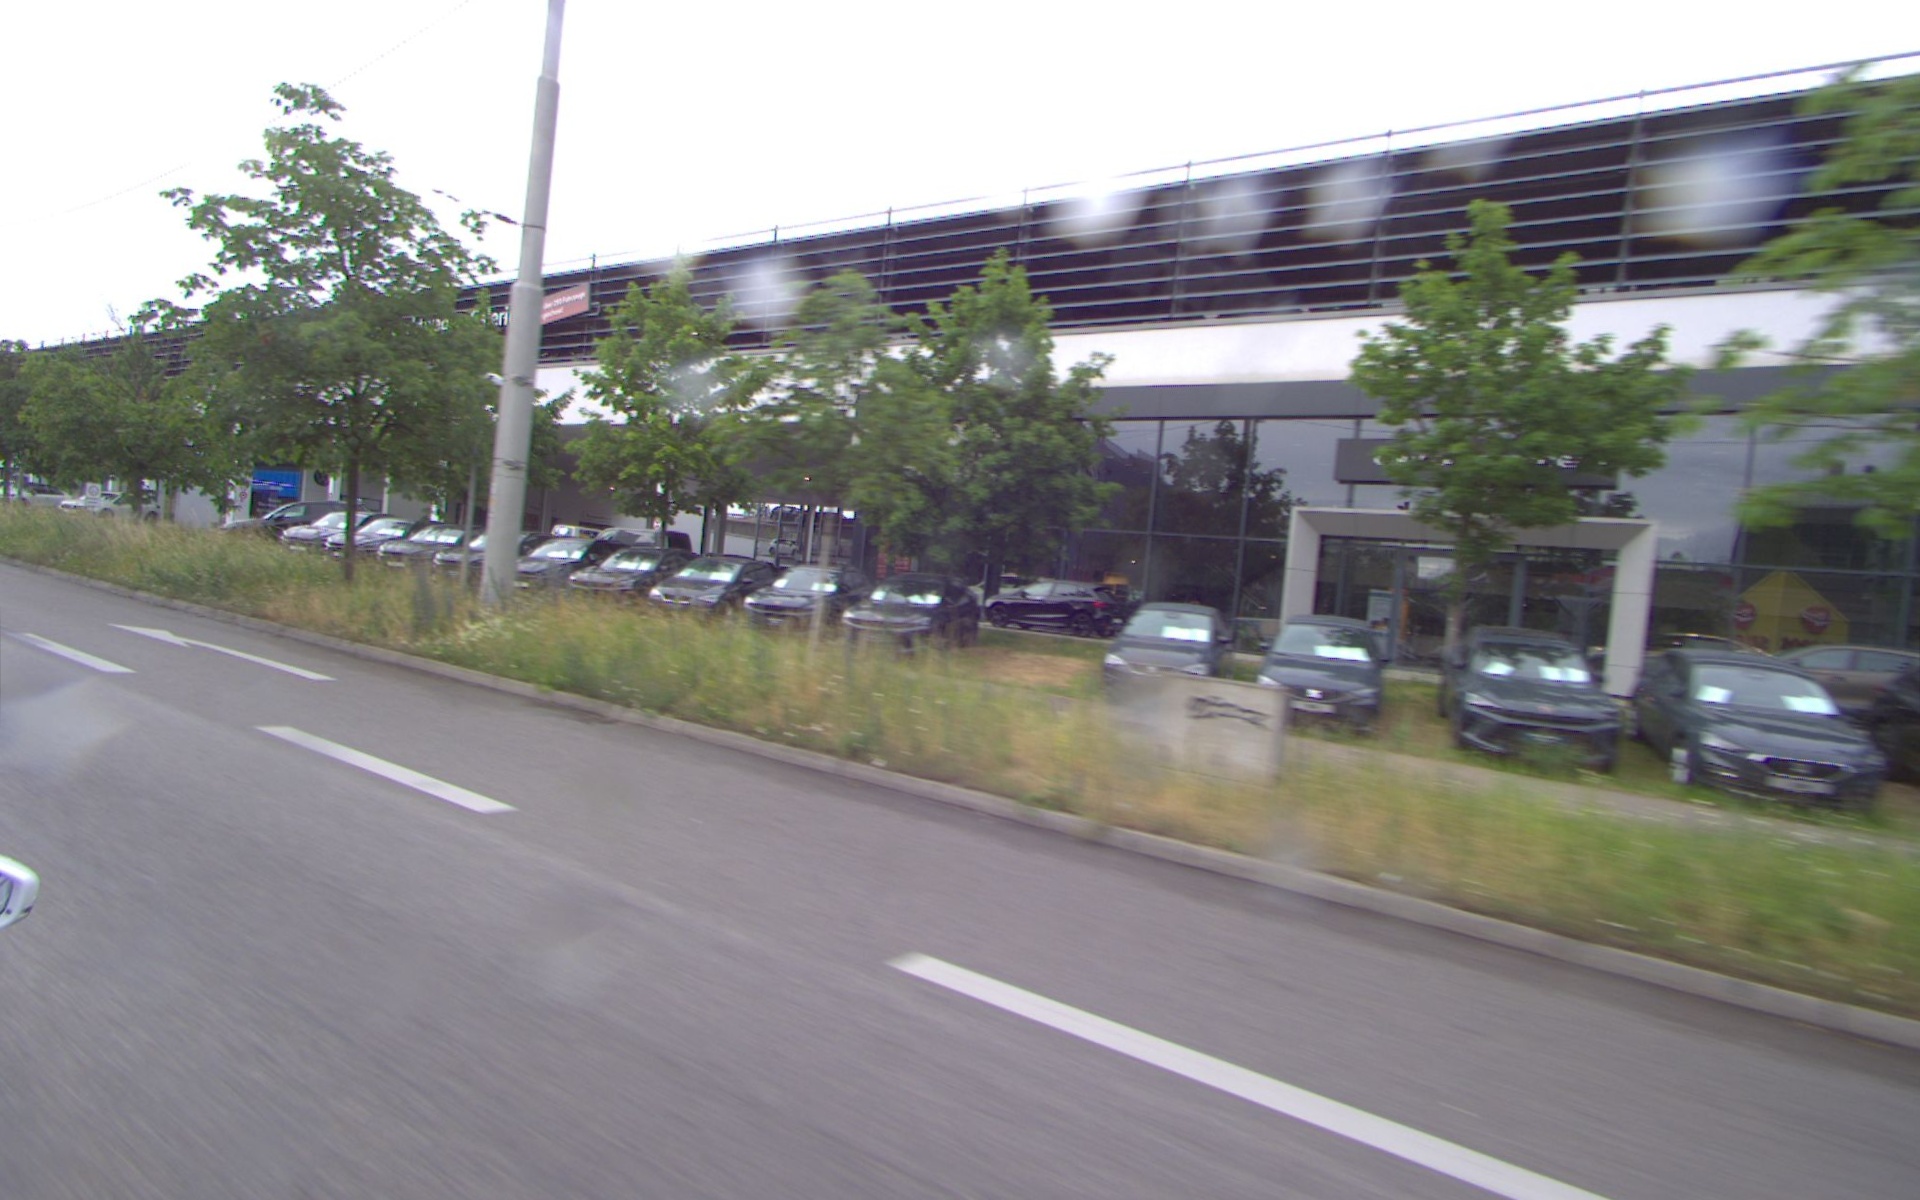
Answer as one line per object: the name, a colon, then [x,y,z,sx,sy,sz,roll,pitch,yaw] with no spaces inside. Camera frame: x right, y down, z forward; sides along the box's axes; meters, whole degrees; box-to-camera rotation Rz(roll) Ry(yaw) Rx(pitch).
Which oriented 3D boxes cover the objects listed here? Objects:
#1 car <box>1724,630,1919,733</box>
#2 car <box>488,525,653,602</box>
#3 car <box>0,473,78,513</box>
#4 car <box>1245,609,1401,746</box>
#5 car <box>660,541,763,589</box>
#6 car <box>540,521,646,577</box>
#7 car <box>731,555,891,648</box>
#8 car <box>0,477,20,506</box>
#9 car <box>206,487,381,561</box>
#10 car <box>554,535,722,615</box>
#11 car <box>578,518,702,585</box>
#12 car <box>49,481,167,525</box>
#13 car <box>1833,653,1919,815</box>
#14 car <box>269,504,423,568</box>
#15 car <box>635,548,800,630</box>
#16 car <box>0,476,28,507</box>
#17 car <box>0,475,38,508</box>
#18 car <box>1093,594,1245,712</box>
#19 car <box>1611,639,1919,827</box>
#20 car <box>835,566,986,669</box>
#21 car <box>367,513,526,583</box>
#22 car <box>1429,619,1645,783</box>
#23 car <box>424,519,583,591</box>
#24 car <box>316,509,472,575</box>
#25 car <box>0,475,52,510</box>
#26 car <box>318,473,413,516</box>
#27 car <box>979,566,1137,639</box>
car: [16.566,1.543,18.373,3.834,1.491,1.780,7,1,32]
car: [-9.627,-0.863,25.258,1.873,1.590,4.150,6,2,10]
car: [-46.101,-5.286,49.572,1.766,1.589,4.095,5,1,-3]
car: [5.590,1.030,15.414,1.788,1.590,4.494,7,2,21]
car: [-10.200,-1.418,41.618,1.695,1.533,4.035,7,1,31]
car: [-16.453,-2.271,45.279,1.913,2.001,4.029,7,1,32]
car: [-2.943,0.016,20.828,1.760,1.554,4.150,6,2,13]
car: [-57.334,-6.472,58.143,1.765,1.589,4.373,5,1,2]
car: [-22.078,-2.487,33.500,4.672,1.901,1.808,5,2,-34]
car: [-7.464,-0.550,23.805,1.796,1.548,4.150,6,2,13]
car: [-11.876,-1.798,37.243,4.356,1.963,1.888,7,1,32]
car: [-38.025,-4.303,45.044,1.715,1.485,4.097,5,1,0]
car: [12.040,1.690,11.238,1.787,1.819,4.495,6,2,20]
car: [-18.995,-1.923,31.381,1.834,1.634,4.332,6,2,4]
car: [-5.243,-0.237,22.320,1.760,1.478,4.150,6,2,13]
car: [-54.883,-6.220,55.977,1.821,1.648,4.352,5,1,3]
car: [-52.281,-5.947,53.972,1.766,1.589,4.186,5,1,-1]
car: [3.551,0.784,16.534,1.656,1.521,4.052,7,2,21]
car: [9.771,1.447,12.670,1.788,1.640,4.493,7,2,24]
car: [-0.828,0.285,19.334,1.700,1.597,4.055,6,2,13]
car: [-14.272,-1.387,28.248,1.792,1.626,4.150,6,2,8]
car: [7.737,1.206,13.959,1.788,1.685,4.494,7,2,21]
car: [-12.001,-1.139,26.793,1.792,1.590,4.150,6,2,8]
car: [-16.629,-1.654,29.821,1.834,1.582,4.150,6,2,7]
car: [-49.383,-5.628,51.787,1.767,1.589,4.182,5,1,-7]
car: [-32.376,-5.731,54.889,1.758,1.525,3.991,7,-2,35]
car: [2.651,0.060,27.402,3.834,1.491,1.666,7,1,32]
